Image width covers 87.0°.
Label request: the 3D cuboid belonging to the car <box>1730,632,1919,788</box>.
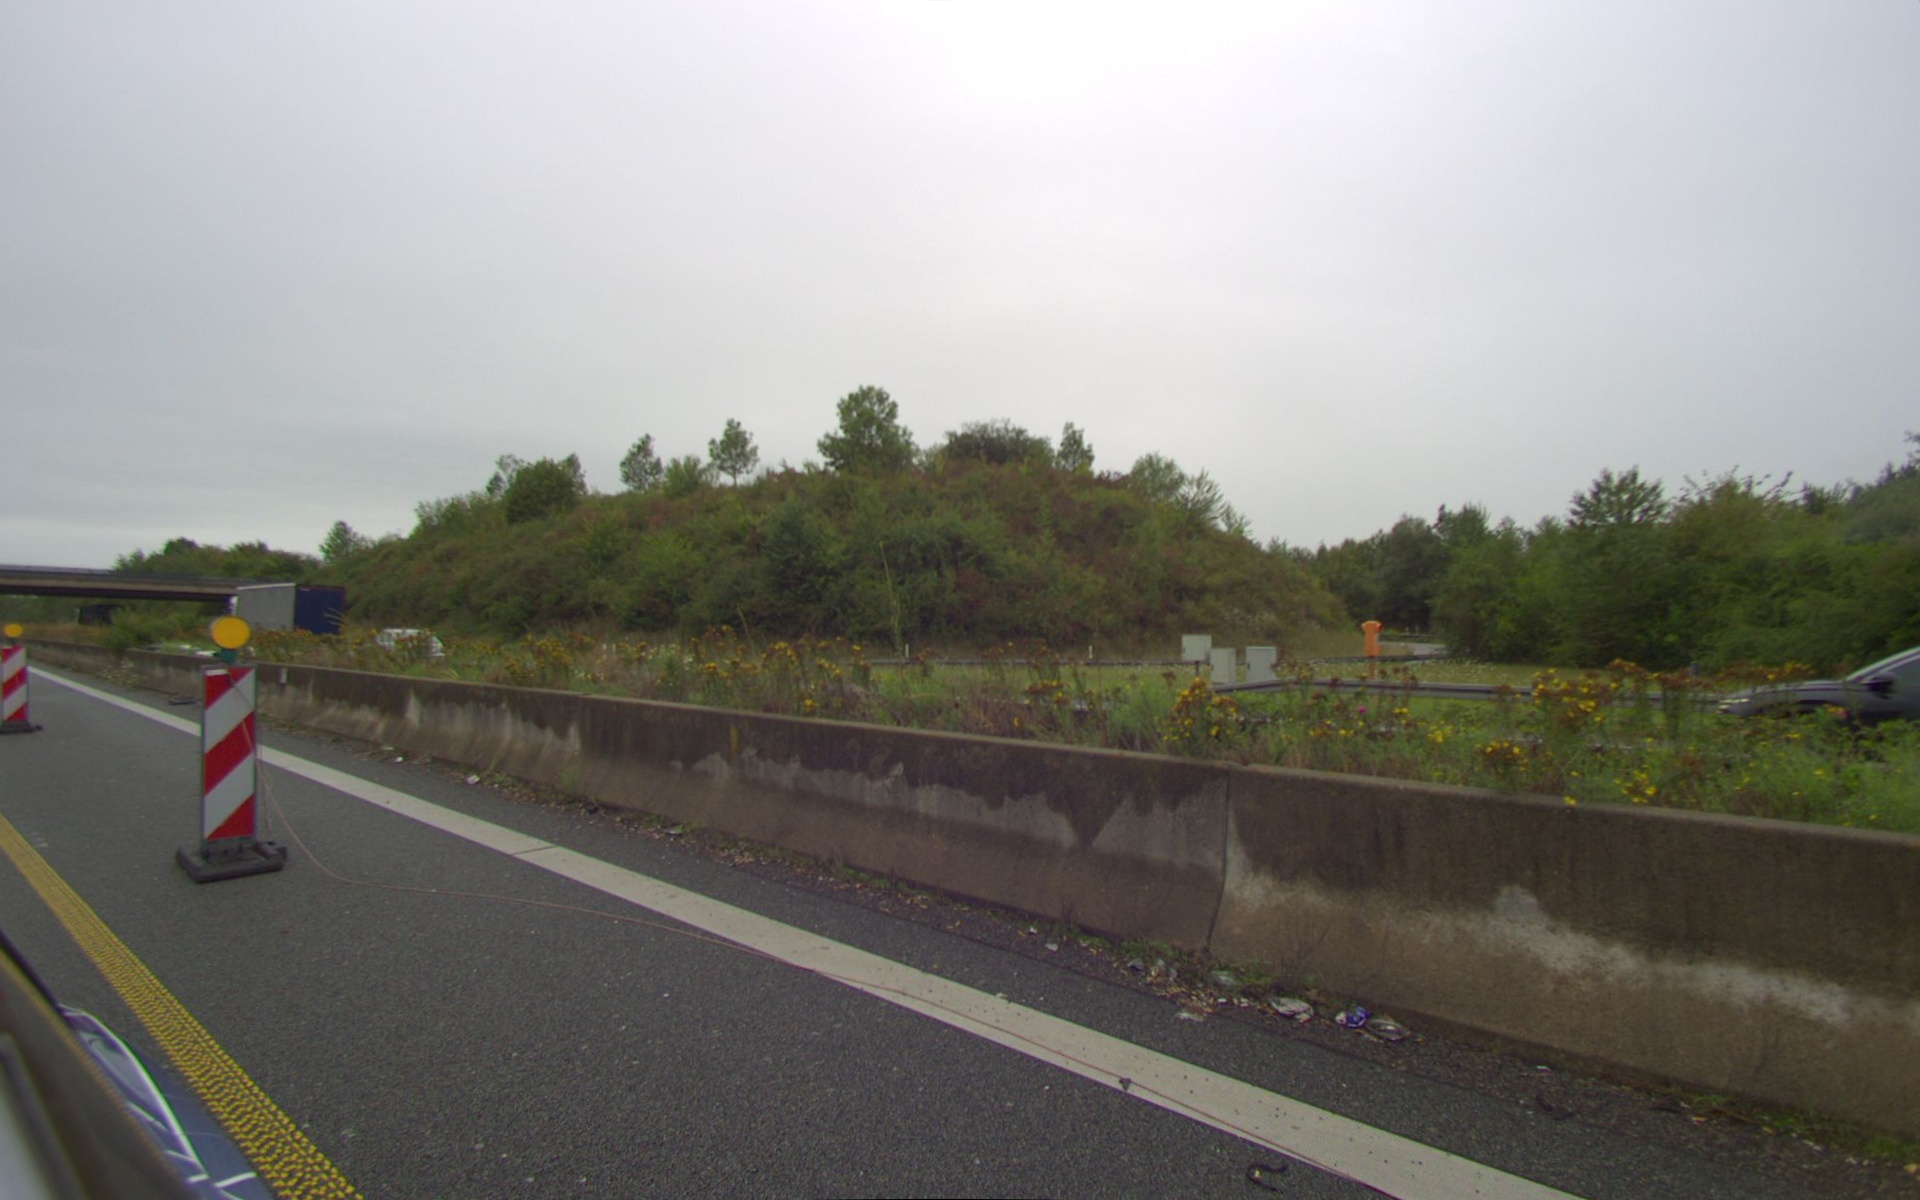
[{"bbox_3d":[11.345,1.190,11.245,4.294,1.674,1.973,-2,-3,41],"label":"car"}]

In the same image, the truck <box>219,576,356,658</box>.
[{"bbox_3d":[-42.475,1.047,63.437,17.290,4.559,3.369,-1,-1,44],"label":"truck"}]

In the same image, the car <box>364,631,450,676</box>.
[{"bbox_3d":[-19.707,1.878,36.006,3.753,1.539,1.659,-2,-3,45],"label":"car"}]

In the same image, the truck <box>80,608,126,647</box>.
[{"bbox_3d":[-99.206,3.141,117.080,12.518,4.277,2.646,-1,0,43],"label":"truck"}]
